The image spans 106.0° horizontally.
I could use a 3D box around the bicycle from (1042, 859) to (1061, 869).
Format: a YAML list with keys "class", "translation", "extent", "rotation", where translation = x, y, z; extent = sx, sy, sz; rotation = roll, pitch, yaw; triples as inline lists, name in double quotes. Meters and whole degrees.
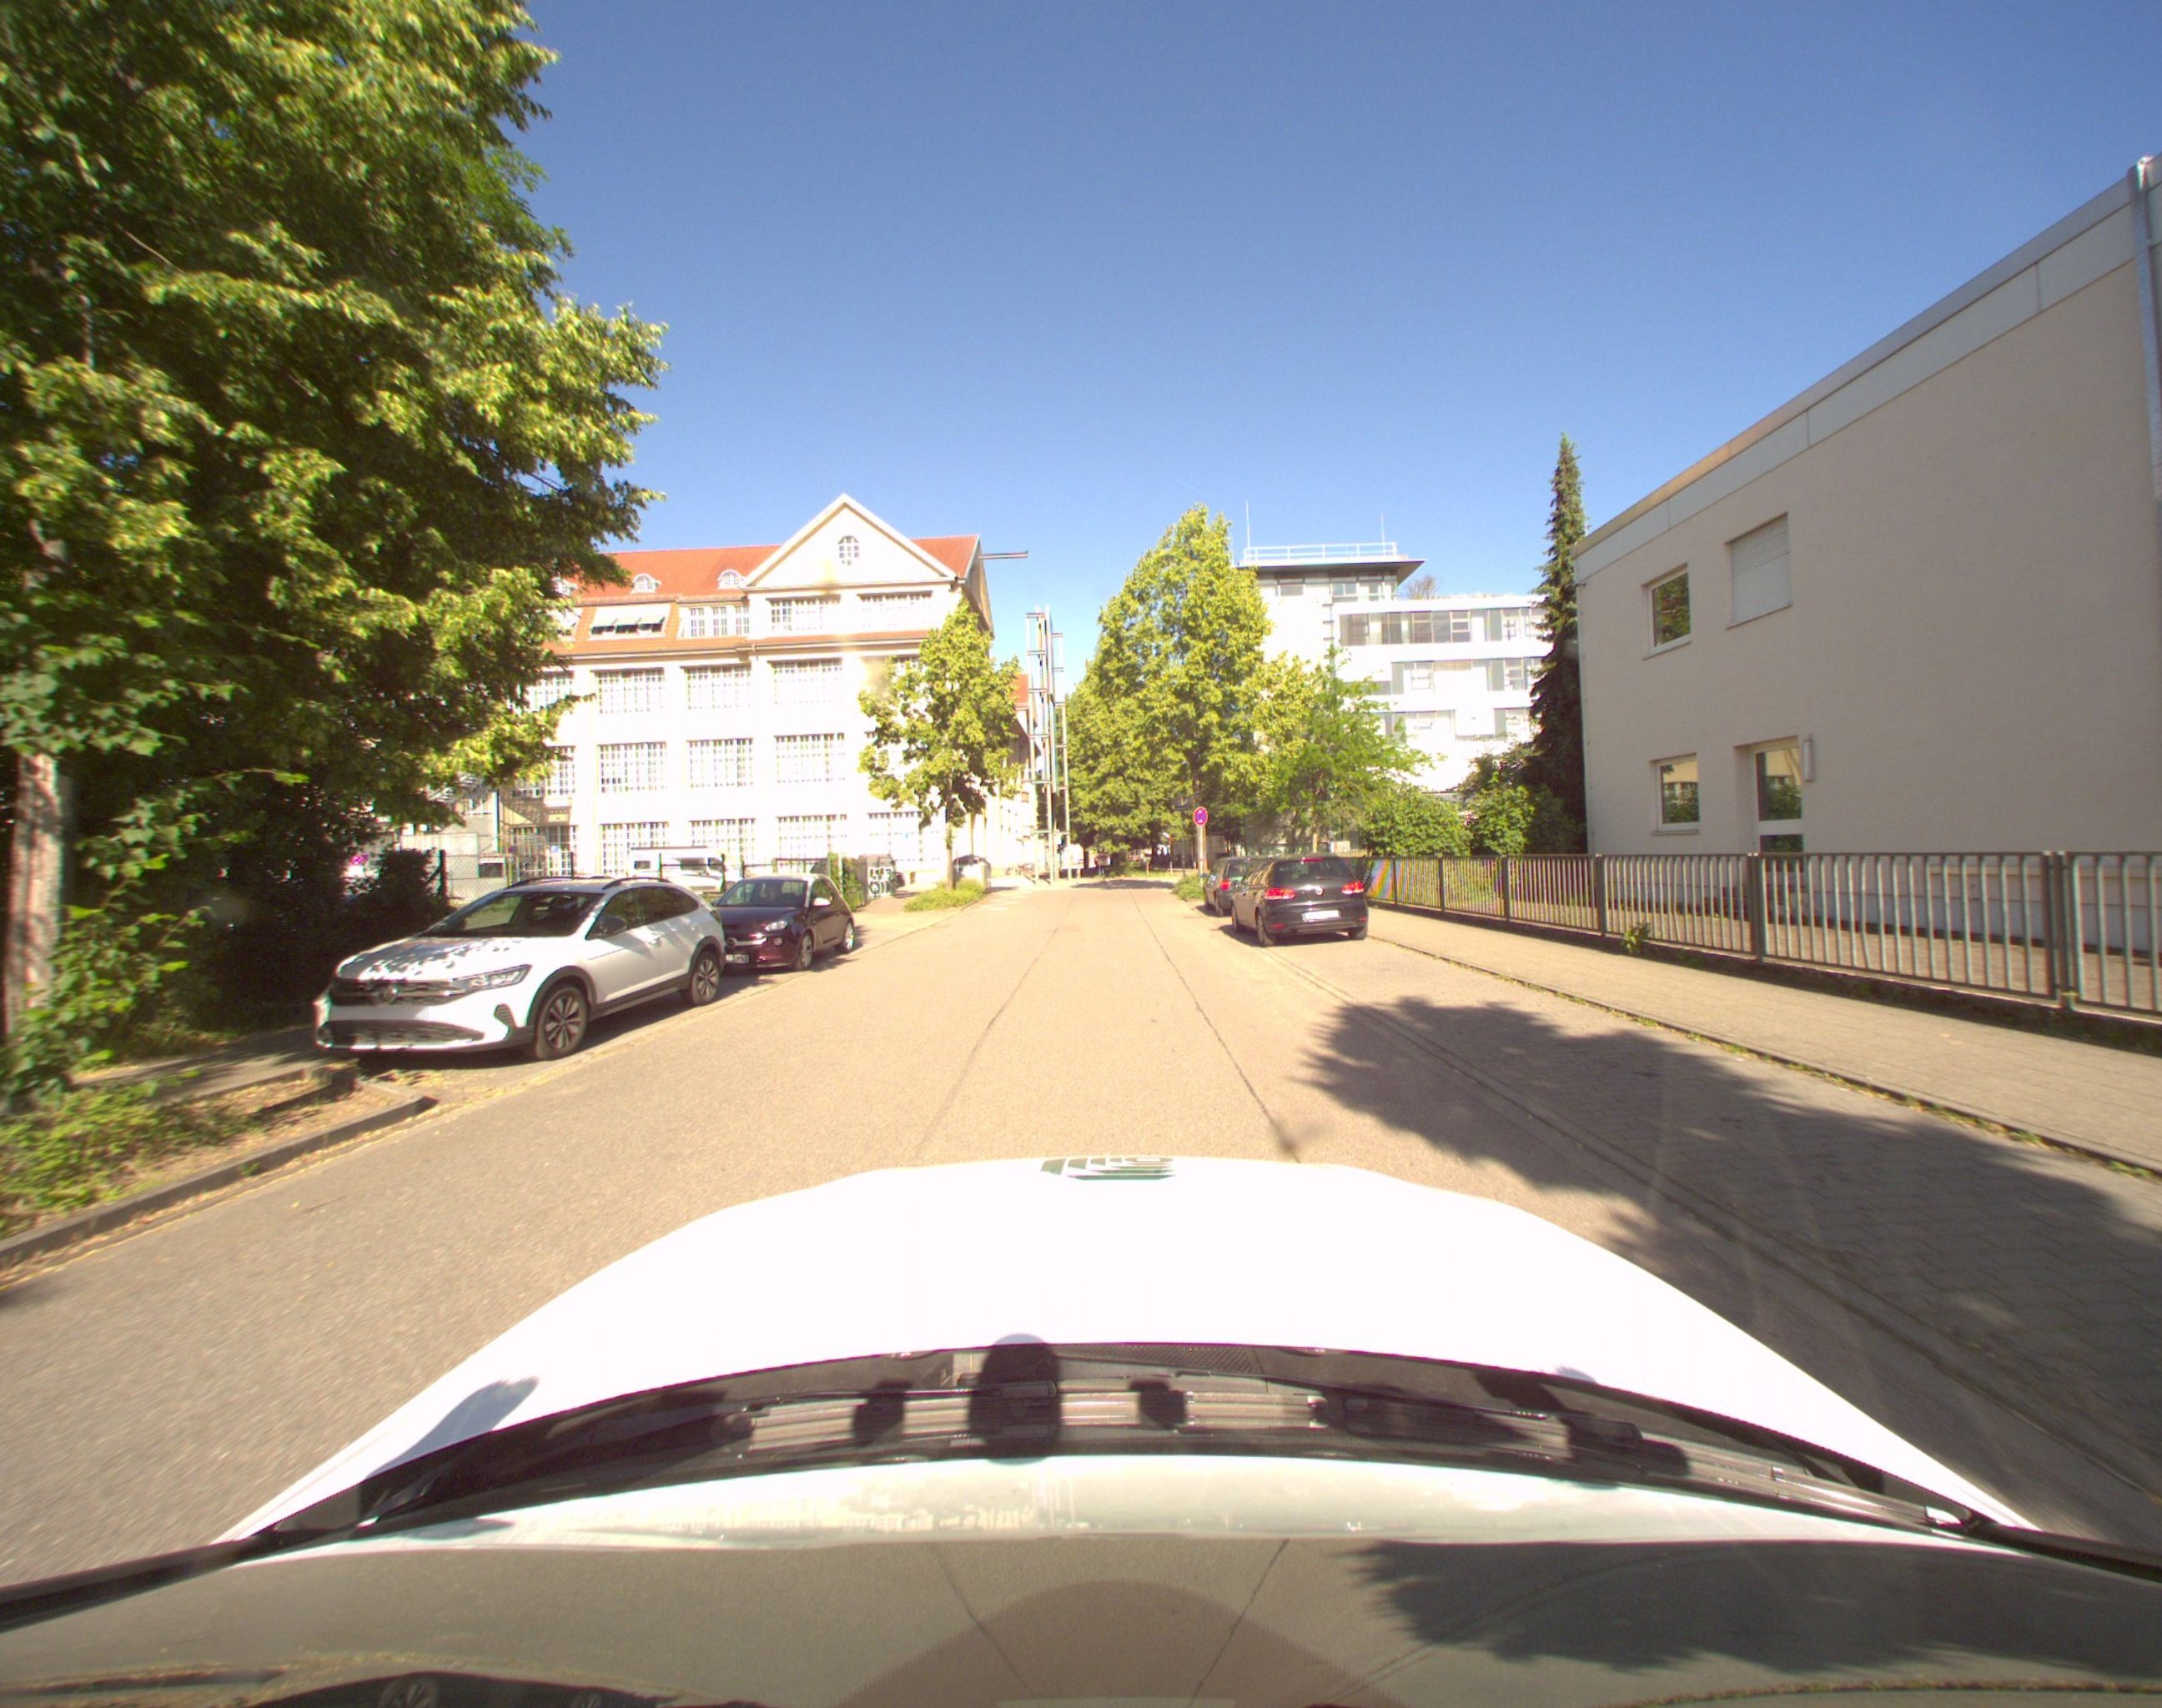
- class: "bicycle"
  translation: [-3.368, 1.140, 91.886]
  extent: [2.049, 1.066, 0.507]
  rotation: [-2, 0, 3]

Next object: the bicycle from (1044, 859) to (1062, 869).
- class: "bicycle"
  translation: [-3.200, 1.123, 92.717]
  extent: [2.049, 1.066, 0.507]
  rotation: [-2, 0, 3]

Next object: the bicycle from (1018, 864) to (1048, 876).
- class: "bicycle"
  translation: [-4.523, 1.479, 76.908]
  extent: [2.794, 1.063, 0.718]
  rotation: [-2, 0, -3]

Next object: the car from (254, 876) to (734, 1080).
- class: "car"
  translation: [-5.321, 1.000, 8.196]
  extent: [1.833, 1.474, 4.003]
  rotation: [0, -1, 1]

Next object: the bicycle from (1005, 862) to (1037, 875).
- class: "bicycle"
  translation: [-5.445, 1.294, 73.996]
  extent: [2.790, 1.063, 0.719]
  rotation: [-2, 0, 1]

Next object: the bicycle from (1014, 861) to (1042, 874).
- class: "bicycle"
  translation: [-5.216, 1.340, 80.693]
  extent: [2.725, 1.150, 0.718]
  rotation: [-2, 0, -3]

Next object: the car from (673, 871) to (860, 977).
- class: "car"
  translation: [-4.988, 1.042, 13.454]
  extent: [1.712, 1.474, 3.545]
  rotation: [0, -1, 0]

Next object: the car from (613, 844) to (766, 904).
- class: "car"
  translation: [-18.943, 0.949, 39.602]
  extent: [6.243, 2.597, 2.164]
  rotation: [-2, 0, 0]

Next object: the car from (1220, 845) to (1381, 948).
- class: "car"
  translation: [3.756, 0.667, 14.676]
  extent: [1.778, 1.516, 4.000]
  rotation: [-3, 0, 0]

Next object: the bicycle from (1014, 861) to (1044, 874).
- class: "bicycle"
  translation: [-5.062, 1.323, 79.351]
  extent: [2.794, 1.150, 0.718]
  rotation: [-2, 0, -3]

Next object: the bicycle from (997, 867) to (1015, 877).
- class: "bicycle"
  translation: [-6.414, 1.532, 69.663]
  extent: [0.773, 0.792, 2.892]
  rotation: [-2, 0, 9]

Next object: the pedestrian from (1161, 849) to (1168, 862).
- class: "pedestrian"
  translation: [9.638, 0.178, 94.434]
  extent: [0.713, 1.550, 0.692]
  rotation: [-2, 0, 8]

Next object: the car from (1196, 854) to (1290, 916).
- class: "car"
  translation: [4.121, 0.762, 21.371]
  extent: [1.739, 1.422, 4.426]
  rotation: [-2, -1, 2]

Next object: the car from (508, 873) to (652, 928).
- class: "car"
  translation: [-17.329, 1.543, 28.469]
  extent: [1.984, 1.609, 4.431]
  rotation: [-2, 0, 4]

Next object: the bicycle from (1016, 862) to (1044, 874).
- class: "bicycle"
  translation: [-5.104, 1.415, 81.480]
  extent: [2.725, 1.150, 0.718]
  rotation: [-2, 0, -3]

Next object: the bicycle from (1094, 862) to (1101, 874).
- class: "bicycle"
  translation: [1.756, 1.494, 86.202]
  extent: [0.618, 1.197, 2.129]
  rotation: [-2, 0, -3]

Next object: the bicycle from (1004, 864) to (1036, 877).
- class: "bicycle"
  translation: [-5.411, 1.436, 72.366]
  extent: [2.794, 1.063, 0.718]
  rotation: [-2, 0, -3]

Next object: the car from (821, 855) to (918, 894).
- class: "car"
  translation: [-10.295, 1.005, 39.841]
  extent: [4.073, 1.696, 2.001]
  rotation: [-2, -1, 3]
